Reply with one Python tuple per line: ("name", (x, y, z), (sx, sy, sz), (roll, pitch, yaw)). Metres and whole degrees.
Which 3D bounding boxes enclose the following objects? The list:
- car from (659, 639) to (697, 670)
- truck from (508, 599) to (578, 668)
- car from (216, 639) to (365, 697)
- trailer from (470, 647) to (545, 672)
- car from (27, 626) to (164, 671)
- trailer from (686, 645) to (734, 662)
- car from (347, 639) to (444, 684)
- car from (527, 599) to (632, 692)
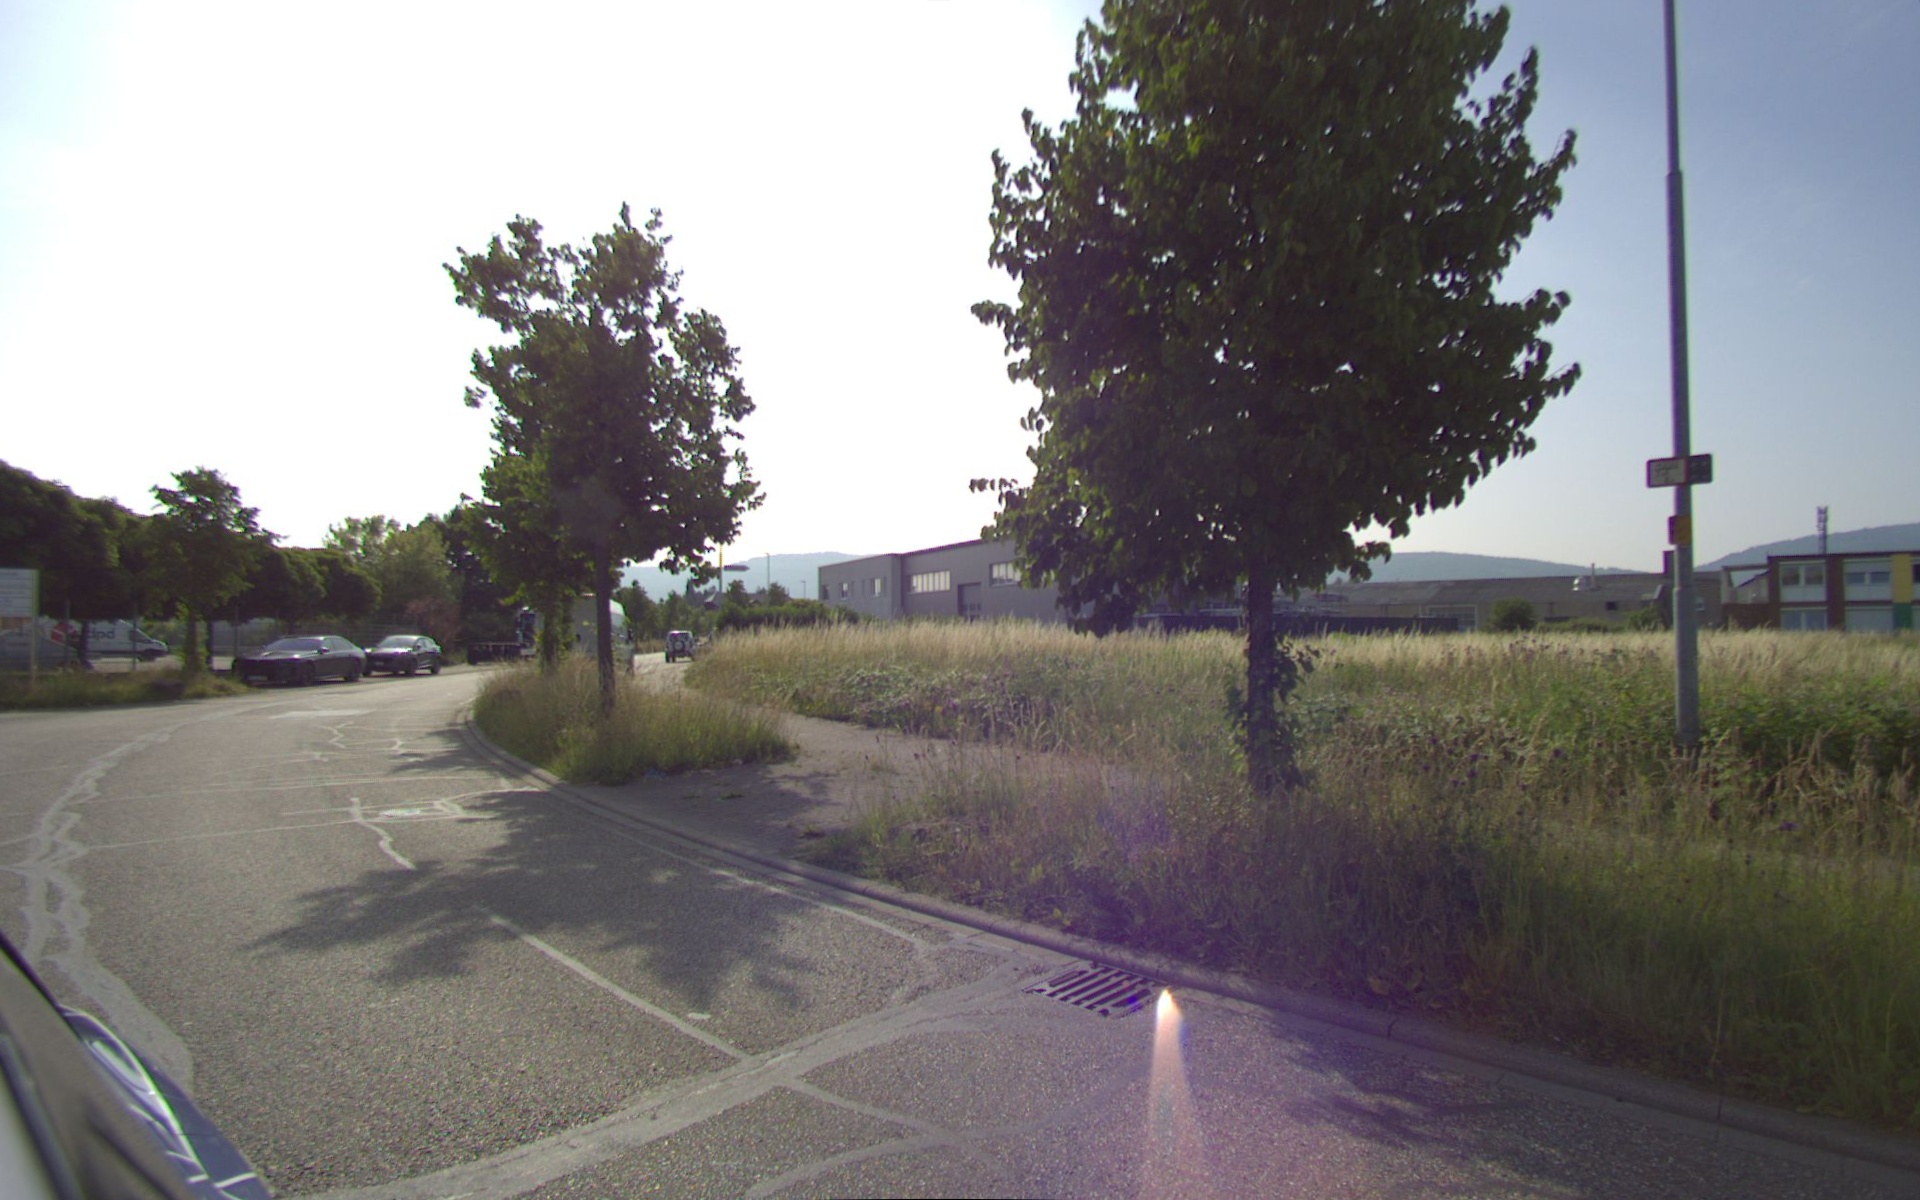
("car", (-15.685, 3.023, 56.400), (1.577, 1.663, 3.650), (-1, -2, -8))
("truck", (-25.969, 2.137, 63.245), (2.657, 3.995, 6.060), (2, -3, -10))
("car", (-20.899, 2.070, 31.882), (1.857, 1.586, 5.127), (1, -2, -8))
("trailer", (-24.705, 3.218, 55.556), (1.914, 1.245, 7.465), (1, -3, -9))
("car", (-53.554, 2.980, 62.846), (2.211, 2.669, 6.188), (-2, -3, 41))
("trailer", (-18.516, 3.936, 75.356), (2.514, 1.082, 9.748), (-2, -2, -8))
("car", (-21.835, 2.346, 39.333), (1.857, 1.586, 4.120), (2, -2, -8))
("car", (-11.947, 1.427, 32.212), (2.074, 2.615, 6.518), (-1, -2, -11))
